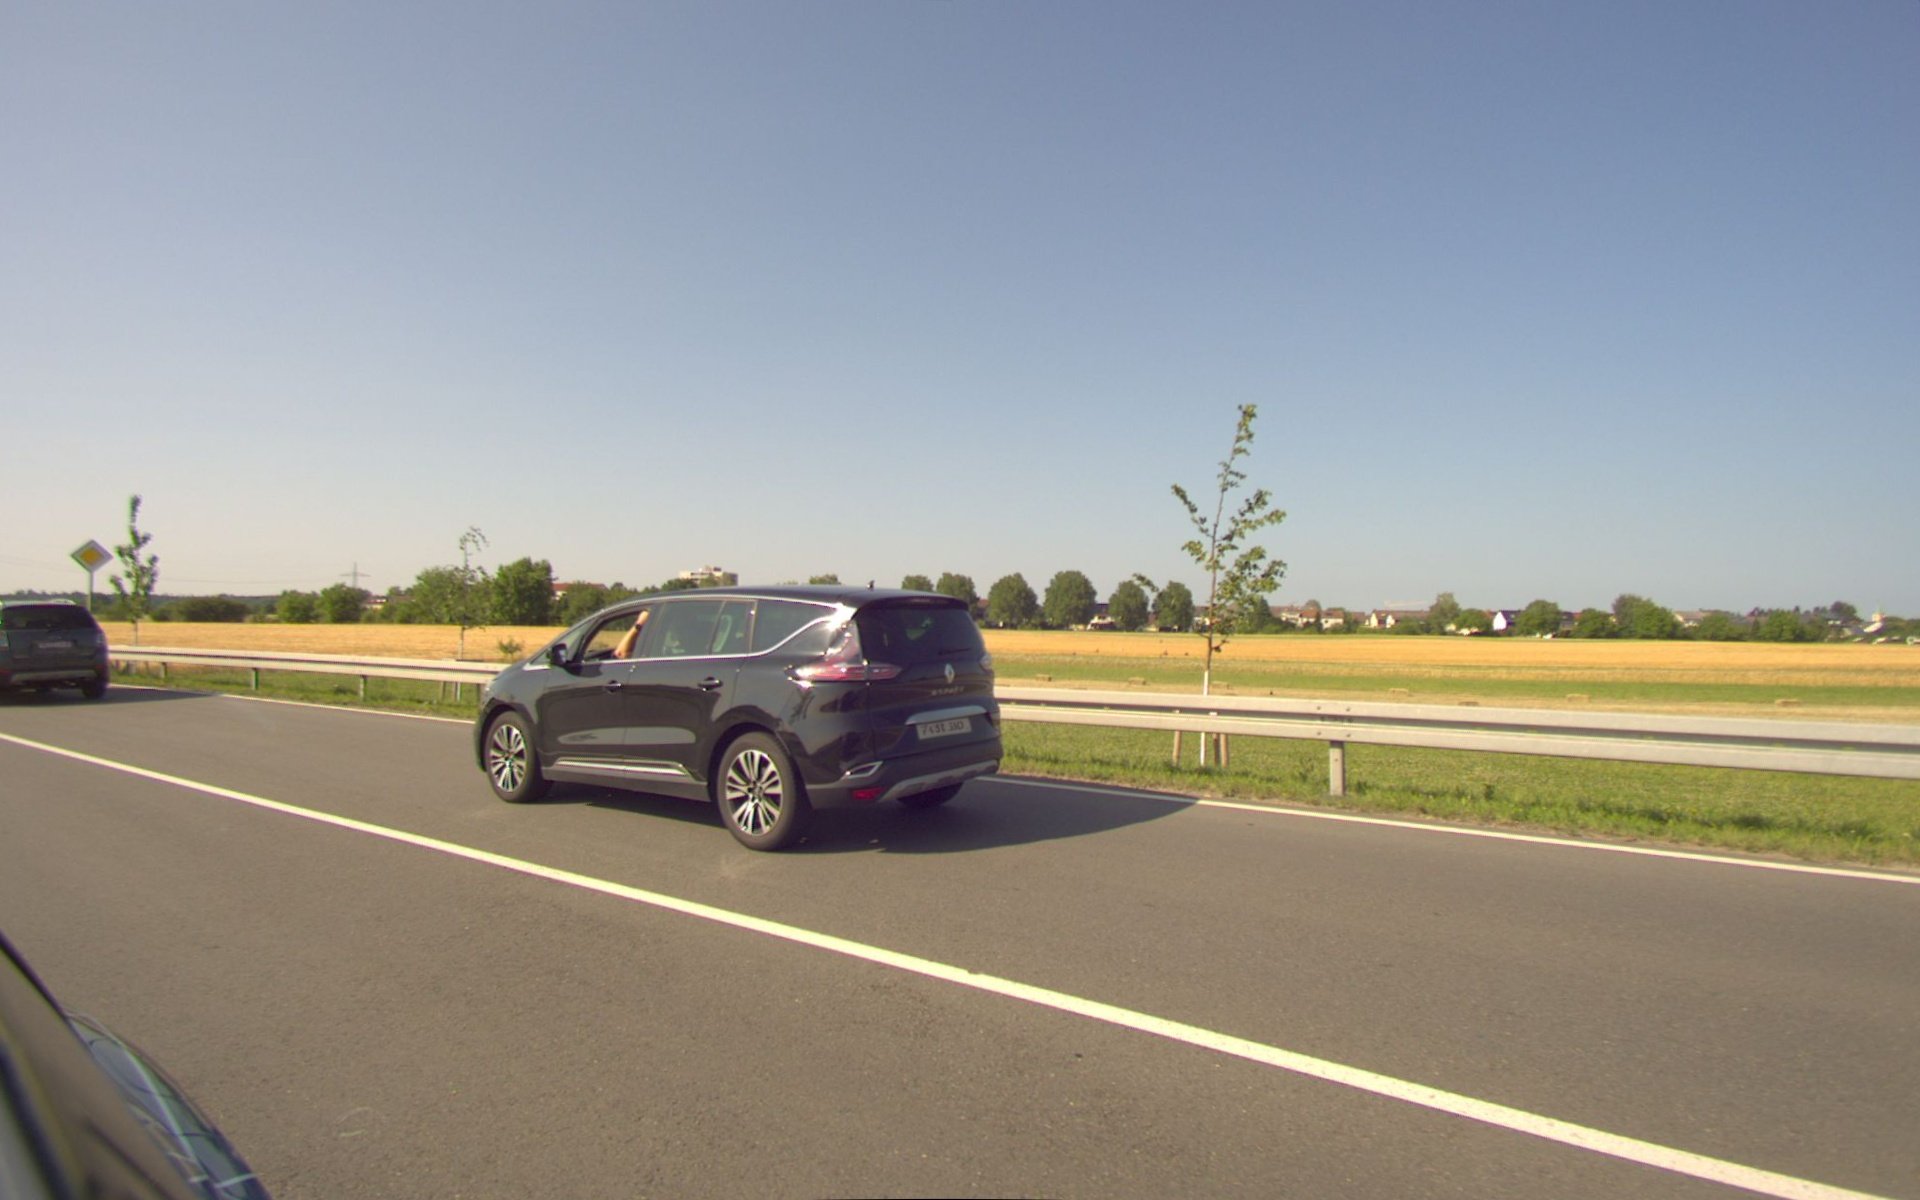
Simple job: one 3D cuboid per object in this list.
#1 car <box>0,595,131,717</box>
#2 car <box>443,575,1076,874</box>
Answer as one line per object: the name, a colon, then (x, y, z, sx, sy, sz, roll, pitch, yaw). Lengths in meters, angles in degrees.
car: (-16.870, 0.875, 18.026, 5.078, 1.811, 1.867, 2, 1, 34)
car: (-1.729, 0.696, 7.681, 4.854, 1.605, 1.975, -1, 0, 37)
